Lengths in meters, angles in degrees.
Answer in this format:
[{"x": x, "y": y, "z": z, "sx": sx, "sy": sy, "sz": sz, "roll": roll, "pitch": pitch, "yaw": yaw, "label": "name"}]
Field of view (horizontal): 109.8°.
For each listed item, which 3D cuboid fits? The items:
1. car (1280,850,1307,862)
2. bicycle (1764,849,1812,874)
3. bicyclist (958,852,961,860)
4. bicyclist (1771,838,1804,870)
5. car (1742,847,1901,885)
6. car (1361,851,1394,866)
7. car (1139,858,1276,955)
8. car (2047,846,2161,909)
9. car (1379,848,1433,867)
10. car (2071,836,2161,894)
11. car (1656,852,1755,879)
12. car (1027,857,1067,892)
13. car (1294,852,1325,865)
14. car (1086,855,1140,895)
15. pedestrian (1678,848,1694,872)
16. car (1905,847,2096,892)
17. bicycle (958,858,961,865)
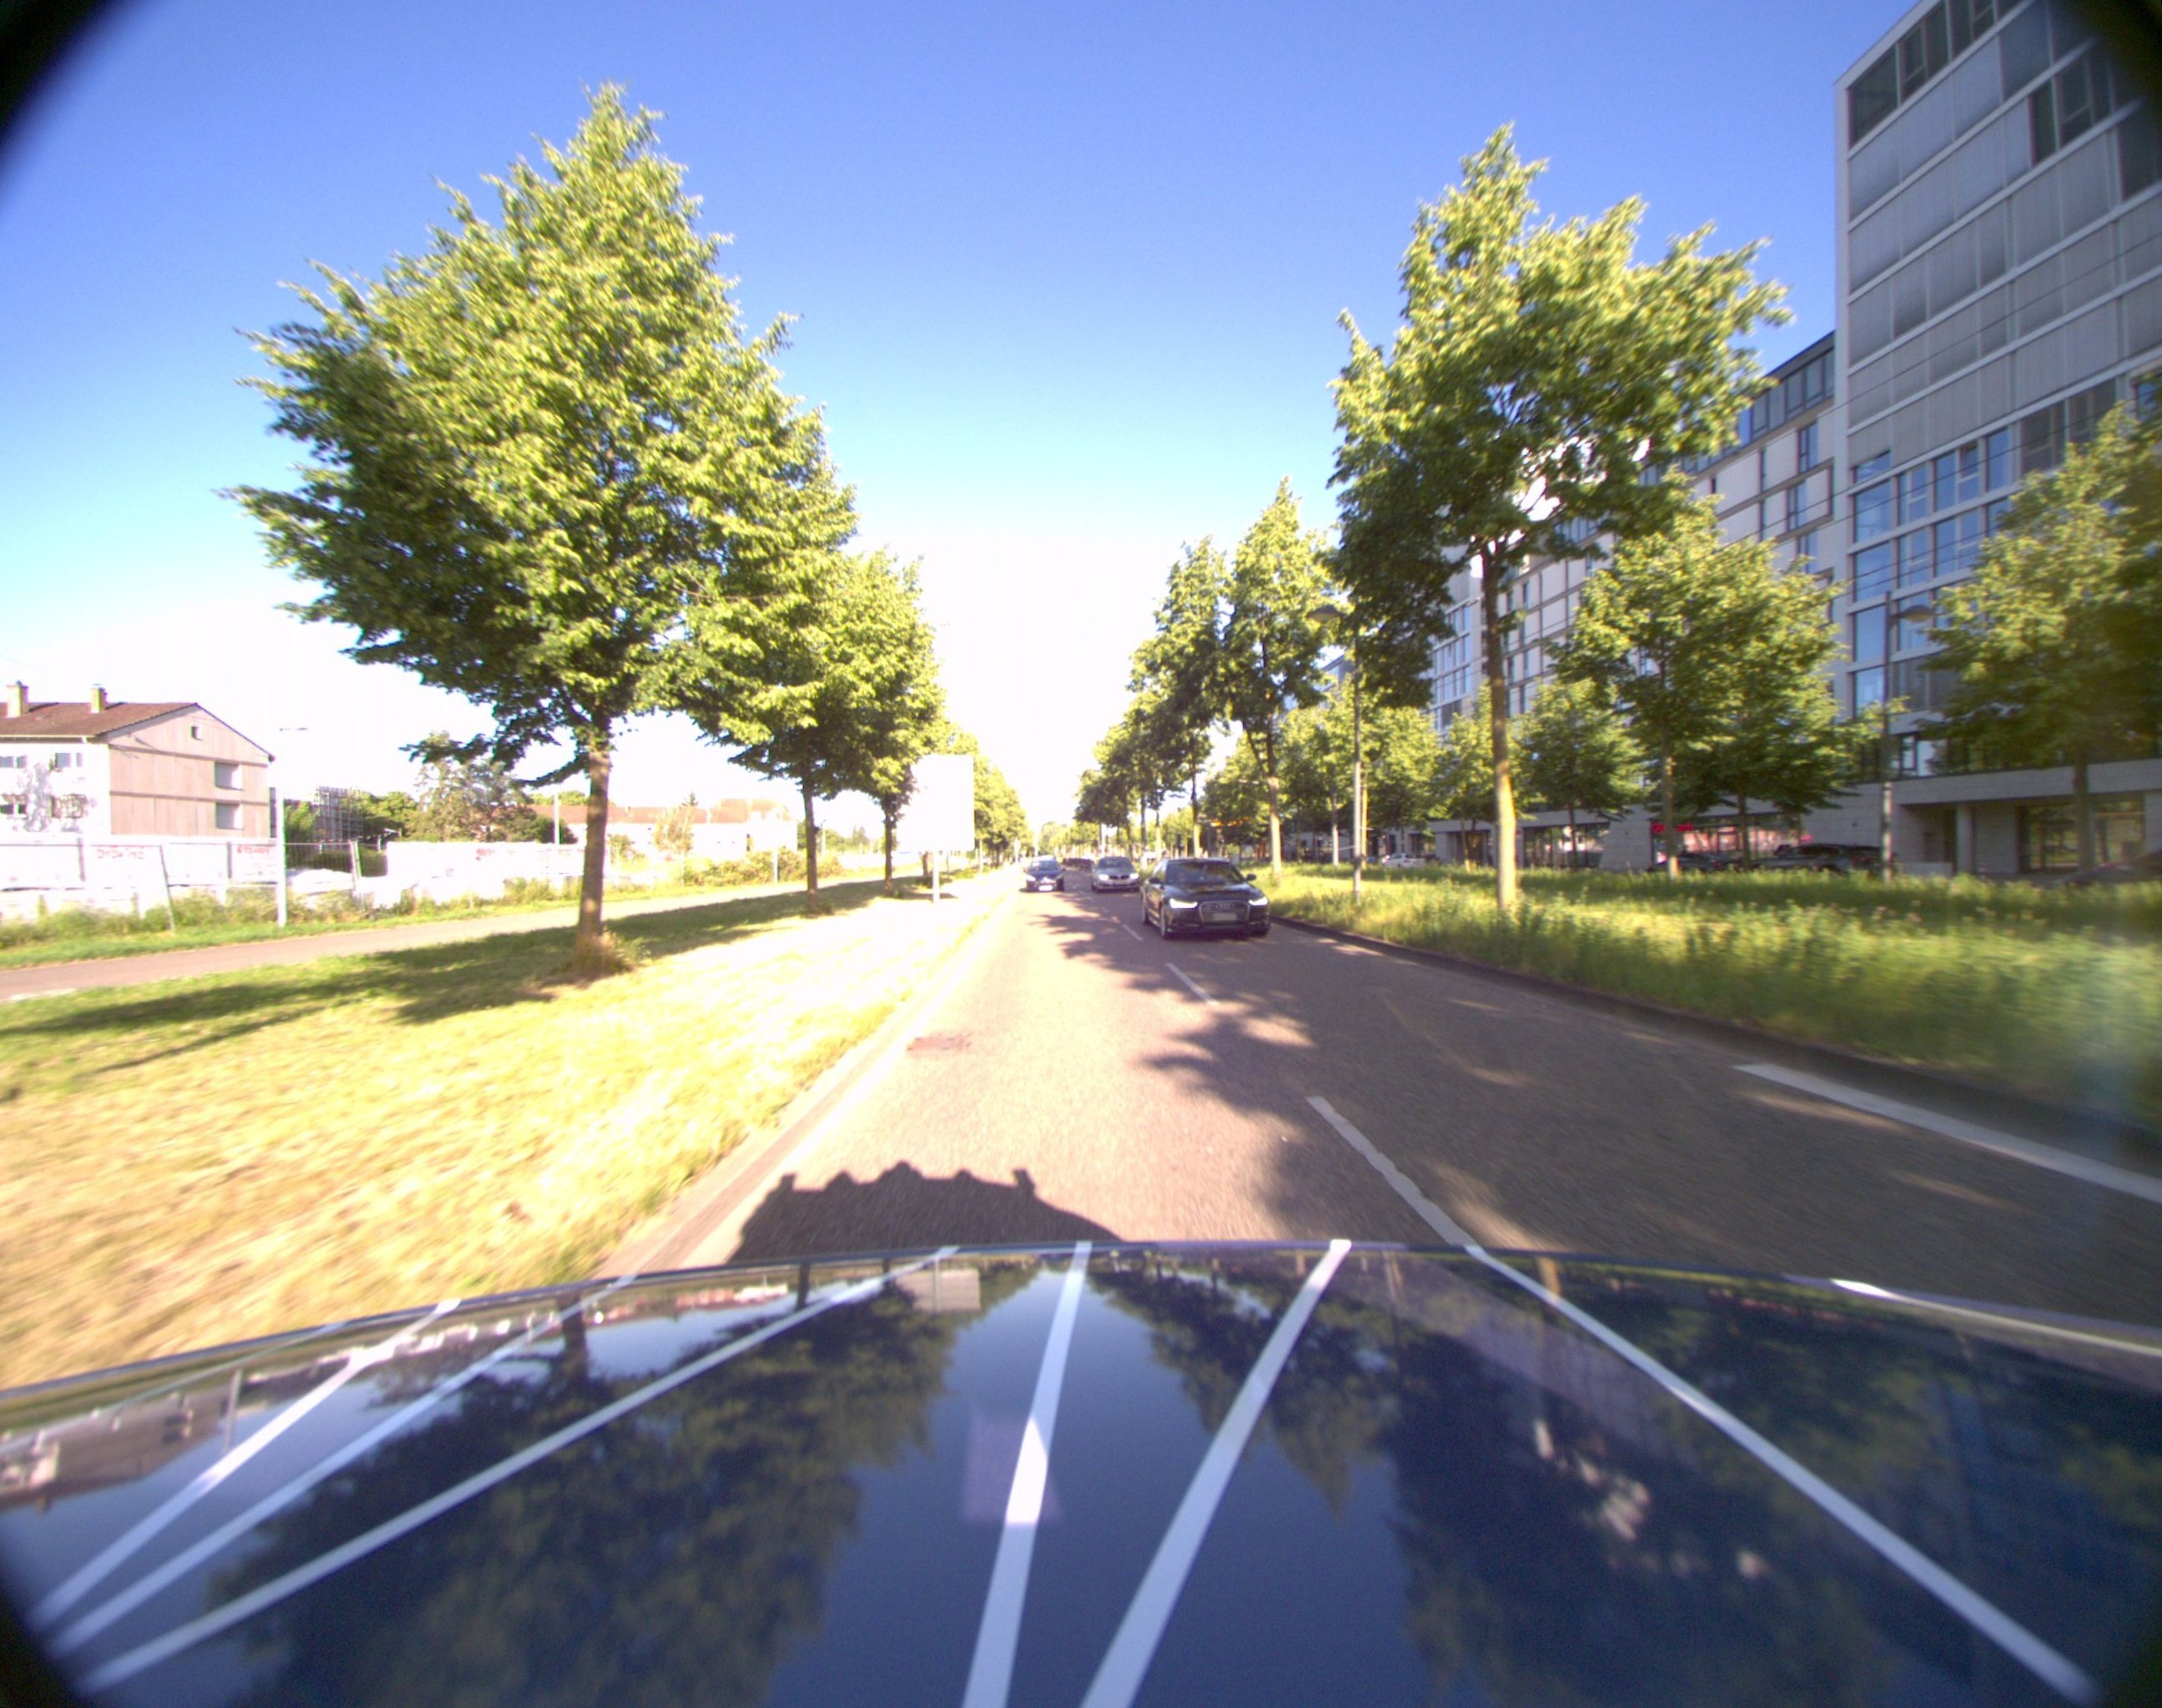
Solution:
[{"x": 26.879, "y": 0.269, "z": 96.299, "sx": 1.964, "sy": 1.412, "sz": 4.543, "roll": -1, "pitch": 0, "yaw": -3, "label": "car"}, {"x": 32.775, "y": 0.361, "z": 35.259, "sx": 0.734, "sy": 1.113, "sz": 1.570, "roll": -1, "pitch": 0, "yaw": -1, "label": "bicycle"}, {"x": -20.933, "y": 0.357, "z": 130.712, "sx": 0.504, "sy": 1.464, "sz": 0.833, "roll": -1, "pitch": 1, "yaw": -5, "label": "bicyclist"}, {"x": 32.763, "y": -0.014, "z": 35.253, "sx": 0.722, "sy": 1.455, "sz": 0.832, "roll": -1, "pitch": 0, "yaw": -1, "label": "bicyclist"}, {"x": 30.143, "y": 0.465, "z": 31.190, "sx": 1.672, "sy": 1.411, "sz": 4.803, "roll": -1, "pitch": 0, "yaw": -3, "label": "car"}, {"x": 27.883, "y": 0.412, "z": 71.516, "sx": 1.654, "sy": 1.228, "sz": 3.463, "roll": -1, "pitch": 2, "yaw": -3, "label": "car"}, {"x": 2.271, "y": 0.880, "z": 14.851, "sx": 1.789, "sy": 1.518, "sz": 4.600, "roll": -2, "pitch": 0, "yaw": -1, "label": "car"}, {"x": 22.894, "y": 0.476, "z": 15.271, "sx": 1.803, "sy": 1.256, "sz": 3.999, "roll": -1, "pitch": 0, "yaw": -3, "label": "car"}, {"x": 23.035, "y": 0.285, "z": 54.025, "sx": 1.803, "sy": 1.284, "sz": 4.310, "roll": 0, "pitch": -1, "yaw": -4, "label": "car"}, {"x": 34.620, "y": 0.321, "z": 23.217, "sx": 1.803, "sy": 1.766, "sz": 5.127, "roll": -2, "pitch": -1, "yaw": -5, "label": "car"}, {"x": 29.871, "y": 0.542, "z": 36.496, "sx": 1.673, "sy": 1.200, "sz": 3.582, "roll": -1, "pitch": 0, "yaw": -4, "label": "car"}, {"x": -1.610, "y": 0.925, "z": 35.492, "sx": 1.763, "sy": 1.506, "sz": 3.946, "roll": -1, "pitch": 0, "yaw": -3, "label": "car"}, {"x": 26.858, "y": 0.474, "z": 89.500, "sx": 2.004, "sy": 1.412, "sz": 4.543, "roll": -1, "pitch": 0, "yaw": -3, "label": "car"}, {"x": 1.312, "y": 0.837, "z": 32.746, "sx": 1.849, "sy": 1.560, "sz": 4.526, "roll": -1, "pitch": 0, "yaw": -4, "label": "car"}, {"x": 36.016, "y": 0.329, "z": 45.247, "sx": 0.409, "sy": 1.405, "sz": 0.690, "roll": -1, "pitch": 2, "yaw": -3, "label": "pedestrian"}, {"x": 30.373, "y": 0.471, "z": 25.287, "sx": 1.738, "sy": 1.346, "sz": 3.752, "roll": -1, "pitch": 0, "yaw": -3, "label": "car"}, {"x": -20.900, "y": 1.249, "z": 130.744, "sx": 0.507, "sy": 1.145, "sz": 1.604, "roll": 1, "pitch": 0, "yaw": -4, "label": "bicycle"}]
